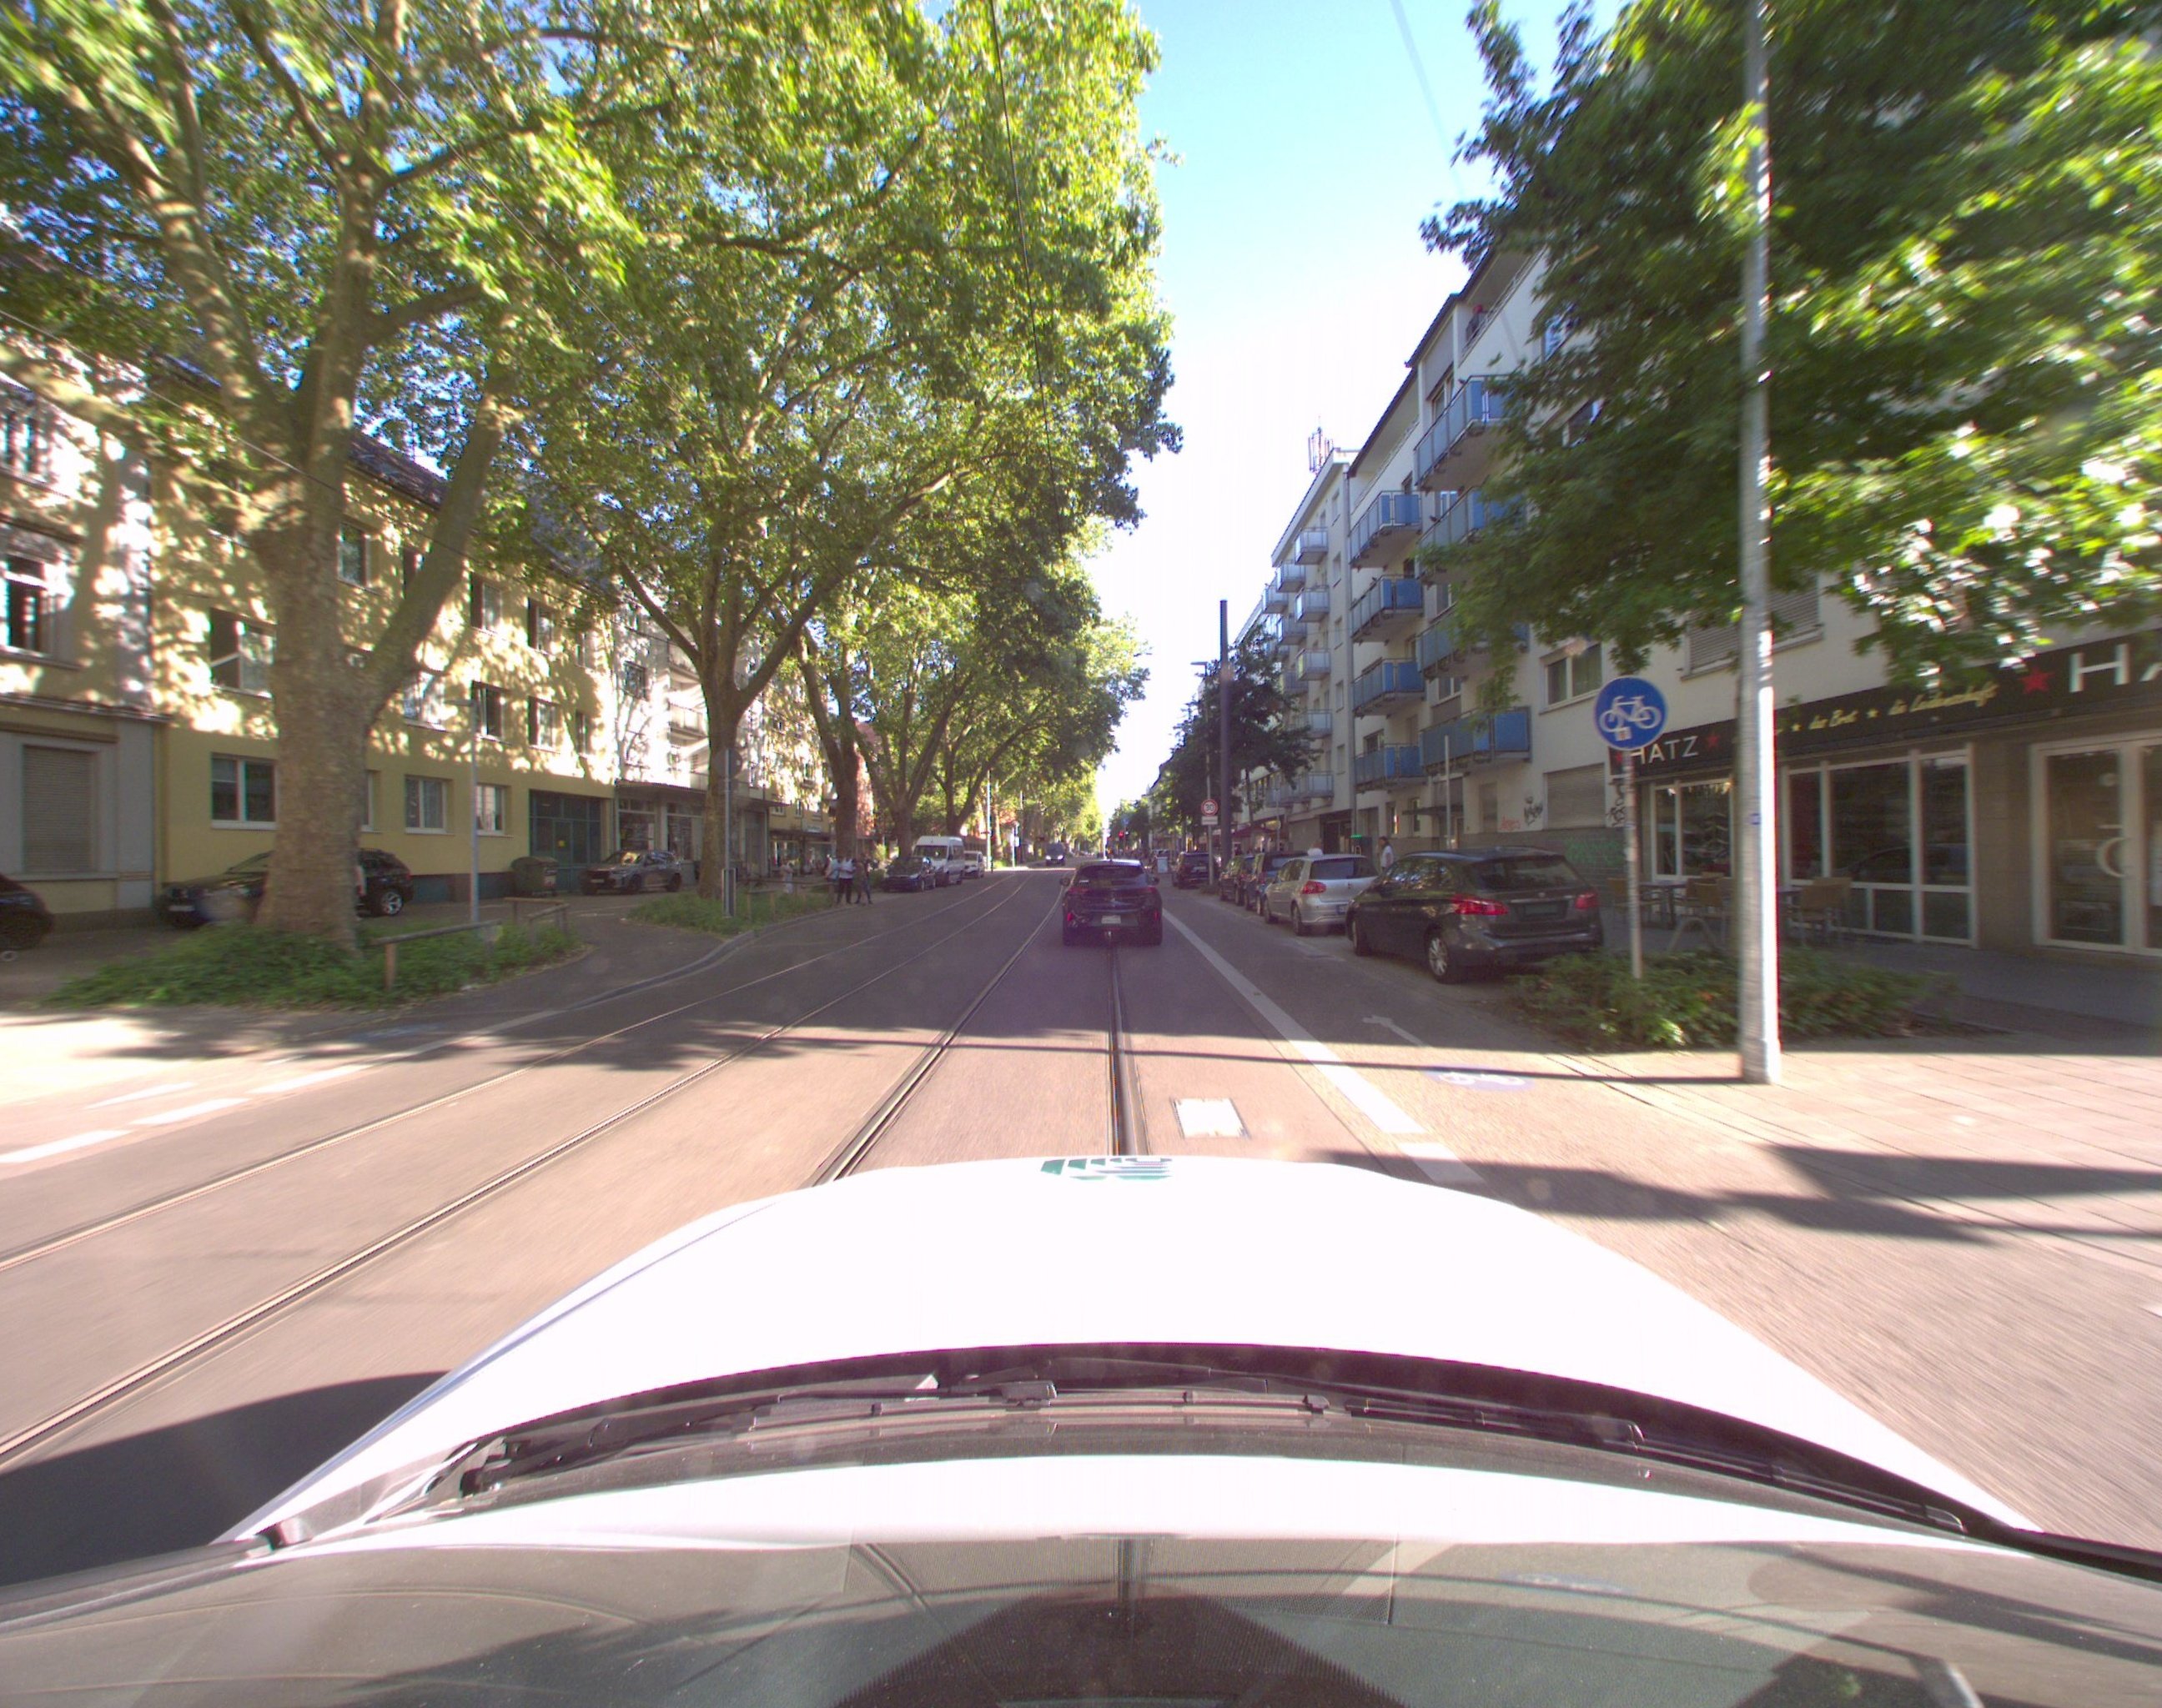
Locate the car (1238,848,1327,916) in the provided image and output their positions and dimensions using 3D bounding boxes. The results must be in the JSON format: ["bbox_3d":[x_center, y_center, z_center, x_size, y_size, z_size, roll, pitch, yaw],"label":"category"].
[{"bbox_3d":[5.064,0.655,20.775,1.644,1.574,3.086,-1,0,3],"label":"car"}]

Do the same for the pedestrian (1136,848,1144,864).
[{"bbox_3d":[7.806,0.292,108.477,0.853,2.013,1.070,-5,-1,2],"label":"pedestrian"}]

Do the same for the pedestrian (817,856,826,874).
[{"bbox_3d":[-18.749,0.790,58.835,0.505,1.333,0.526,-1,0,-2],"label":"pedestrian"}]

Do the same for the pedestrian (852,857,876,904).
[{"bbox_3d":[-7.454,0.890,27.990,0.681,1.583,0.557,-1,0,-1],"label":"pedestrian"}]

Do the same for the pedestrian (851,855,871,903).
[{"bbox_3d":[-7.353,0.831,27.252,0.505,1.583,0.527,-1,0,1],"label":"pedestrian"}]

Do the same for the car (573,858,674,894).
[{"bbox_3d":[-17.865,0.829,32.008,1.689,1.276,3.829,0,0,1],"label":"car"}]

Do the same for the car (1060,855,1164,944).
[{"bbox_3d":[0.540,0.743,15.041,1.674,1.422,3.628,1,0,1],"label":"car"}]

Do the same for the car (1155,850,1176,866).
[{"bbox_3d":[9.427,0.457,91.354,1.986,1.706,4.002,-1,0,2],"label":"car"}]

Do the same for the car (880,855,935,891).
[{"bbox_3d":[-7.804,0.813,36.948,1.749,1.508,3.997,-1,0,-2],"label":"car"}]

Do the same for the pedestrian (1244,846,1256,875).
[{"bbox_3d":[10.240,0.366,49.333,0.626,1.732,0.633,-1,0,6],"label":"pedestrian"}]

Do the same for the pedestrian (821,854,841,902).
[{"bbox_3d":[-8.306,0.797,27.082,0.505,1.583,0.526,-1,0,-3],"label":"pedestrian"}]

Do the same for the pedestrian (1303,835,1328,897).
[{"bbox_3d":[6.296,0.323,21.844,0.595,1.651,0.634,-1,0,18],"label":"pedestrian"}]

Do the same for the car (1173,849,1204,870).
[{"bbox_3d":[9.185,0.449,69.291,1.978,1.640,4.017,-1,0,16],"label":"car"}]

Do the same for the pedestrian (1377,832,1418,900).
[{"bbox_3d":[8.347,0.307,21.522,0.789,1.748,0.771,-1,0,4],"label":"pedestrian"}]

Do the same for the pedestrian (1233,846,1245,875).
[{"bbox_3d":[9.561,0.373,49.309,0.626,1.732,0.633,-1,0,6],"label":"pedestrian"}]

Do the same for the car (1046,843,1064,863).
[{"bbox_3d":[-3.064,-0.120,95.167,1.989,2.211,5.097,-1,0,-3],"label":"car"}]

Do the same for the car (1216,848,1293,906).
[{"bbox_3d":[5.142,0.634,24.513,1.711,1.574,3.685,-1,0,3],"label":"car"}]

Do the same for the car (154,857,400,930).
[{"bbox_3d":[-18.513,0.832,19.061,1.675,1.517,4.002,0,0,2],"label":"car"}]

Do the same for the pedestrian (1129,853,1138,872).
[{"bbox_3d":[4.293,0.690,66.976,0.594,1.590,0.891,-1,0,-5],"label":"pedestrian"}]

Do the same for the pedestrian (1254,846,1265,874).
[{"bbox_3d":[11.517,0.379,52.433,0.626,1.732,0.633,-1,0,7],"label":"pedestrian"}]

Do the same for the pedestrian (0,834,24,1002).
[{"bbox_3d":[-12.513,0.721,8.943,0.903,1.869,0.643,-1,0,-5],"label":"pedestrian"}]

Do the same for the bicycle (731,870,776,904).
[{"bbox_3d":[-11.019,1.102,27.355,1.675,1.062,0.455,1,-1,31],"label":"bicycle"}]

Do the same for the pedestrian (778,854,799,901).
[{"bbox_3d":[-9.933,0.789,27.692,0.505,1.583,0.526,-1,0,-2],"label":"pedestrian"}]

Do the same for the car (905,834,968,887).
[{"bbox_3d":[-7.543,0.306,43.108,2.085,2.584,5.998,-1,0,1],"label":"car"}]

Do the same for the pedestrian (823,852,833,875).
[{"bbox_3d":[-18.084,0.676,58.152,0.505,1.583,0.526,-1,0,-2],"label":"pedestrian"}]

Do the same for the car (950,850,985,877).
[{"bbox_3d":[-7.414,0.595,53.546,1.990,1.717,3.994,-1,0,-4],"label":"car"}]

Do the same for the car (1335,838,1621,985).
[{"bbox_3d":[4.975,0.622,10.932,1.714,1.574,4.081,-1,0,-2],"label":"car"}]

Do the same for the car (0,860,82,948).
[{"bbox_3d":[-18.940,0.859,12.700,1.675,1.464,4.002,-1,0,2],"label":"car"}]

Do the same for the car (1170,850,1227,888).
[{"bbox_3d":[5.023,0.615,35.233,1.986,1.508,4.002,-1,0,2],"label":"car"}]

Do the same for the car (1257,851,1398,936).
[{"bbox_3d":[4.809,0.710,16.421,1.712,1.490,3.681,-1,0,0],"label":"car"}]

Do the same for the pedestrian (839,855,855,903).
[{"bbox_3d":[-7.859,0.838,27.352,0.345,1.583,0.508,-1,0,0],"label":"pedestrian"}]

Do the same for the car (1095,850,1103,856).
[{"bbox_3d":[4.540,-0.228,205.919,1.742,1.651,4.003,-1,0,3],"label":"car"}]

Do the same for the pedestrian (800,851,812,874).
[{"bbox_3d":[-18.459,0.566,54.669,0.552,1.583,0.573,-1,0,-3],"label":"pedestrian"}]

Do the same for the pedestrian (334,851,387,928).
[{"bbox_3d":[-15.678,0.760,17.731,0.549,1.652,0.650,-1,0,5],"label":"pedestrian"}]
